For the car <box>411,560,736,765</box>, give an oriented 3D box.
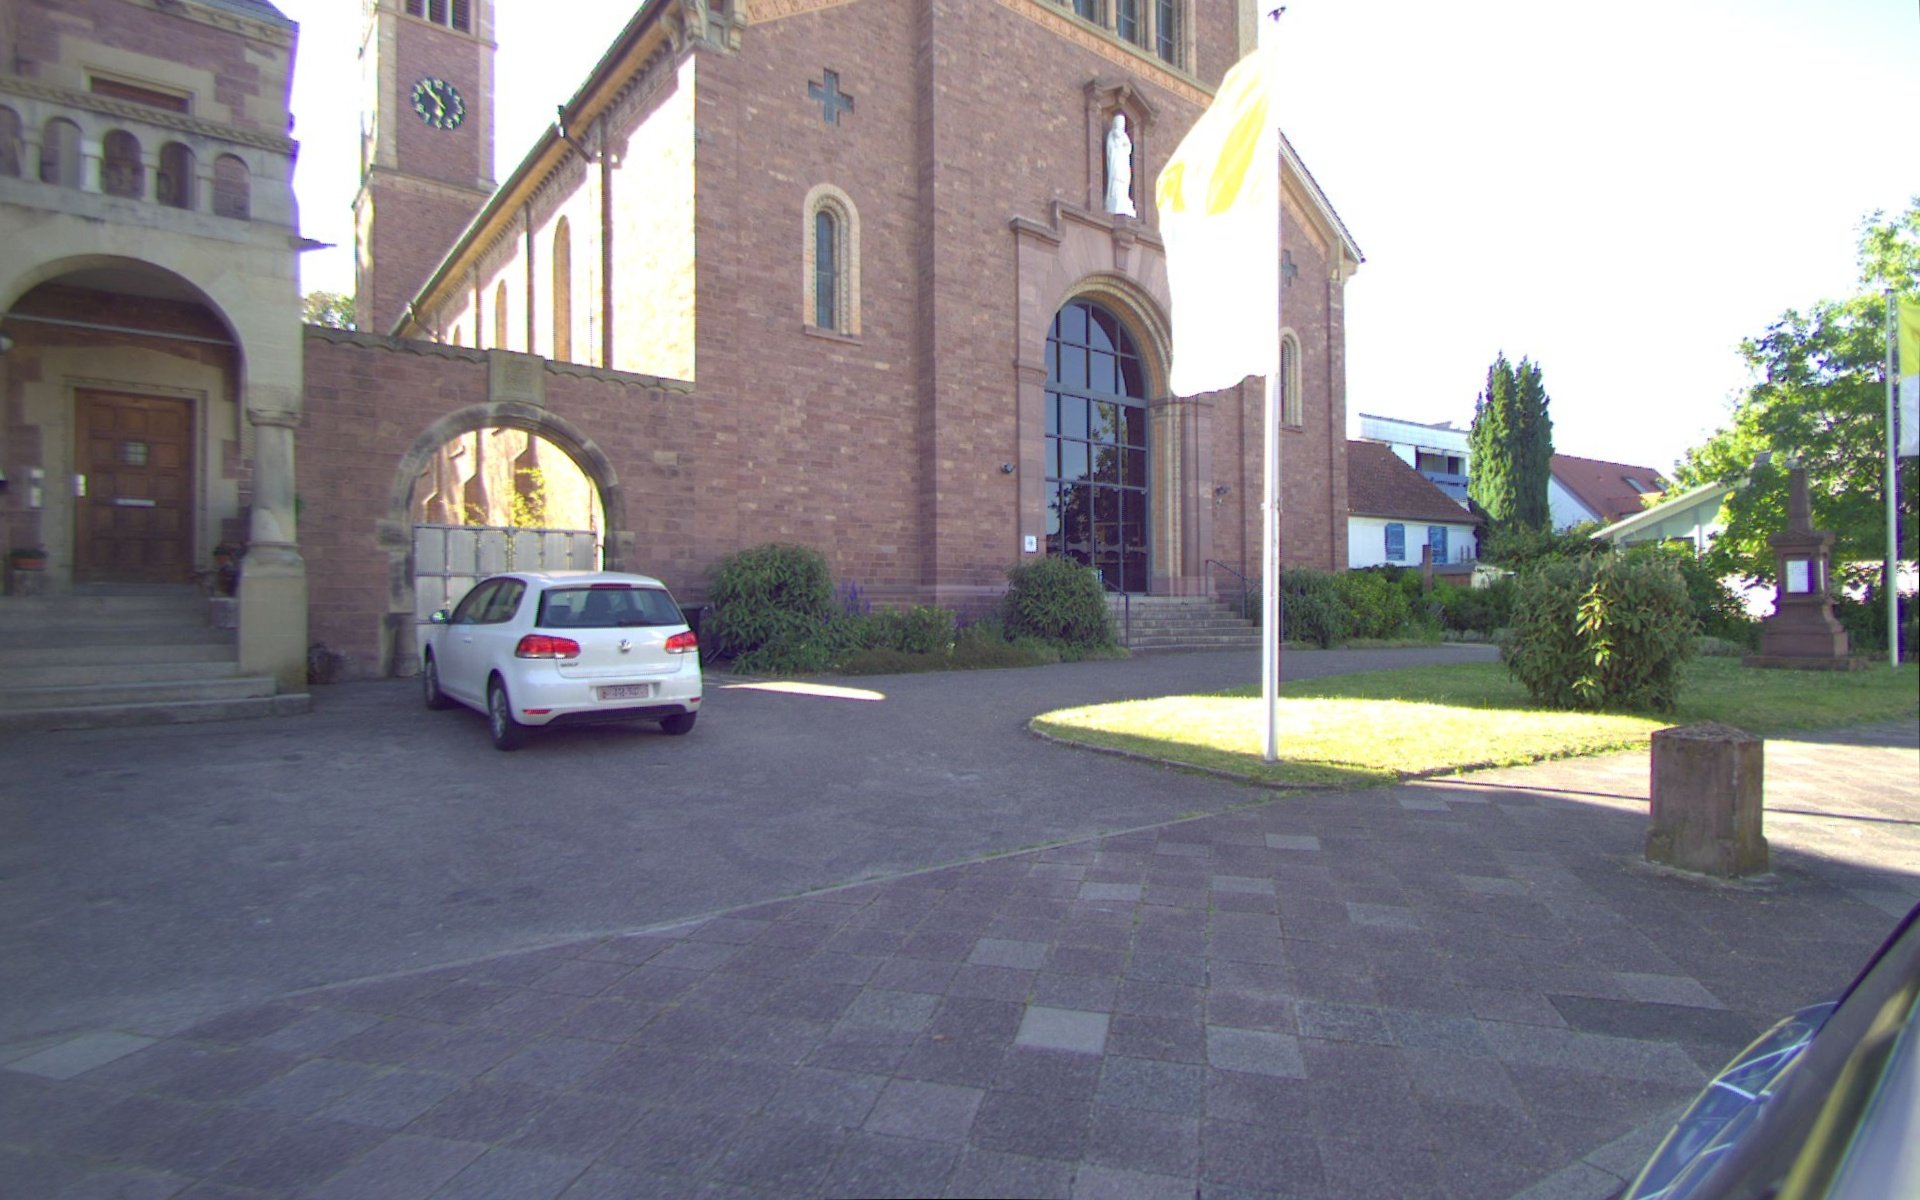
[{"bbox_3d":[-3.894,0.391,9.809,1.870,1.514,3.909,-2,3,-38],"label":"car"}]
